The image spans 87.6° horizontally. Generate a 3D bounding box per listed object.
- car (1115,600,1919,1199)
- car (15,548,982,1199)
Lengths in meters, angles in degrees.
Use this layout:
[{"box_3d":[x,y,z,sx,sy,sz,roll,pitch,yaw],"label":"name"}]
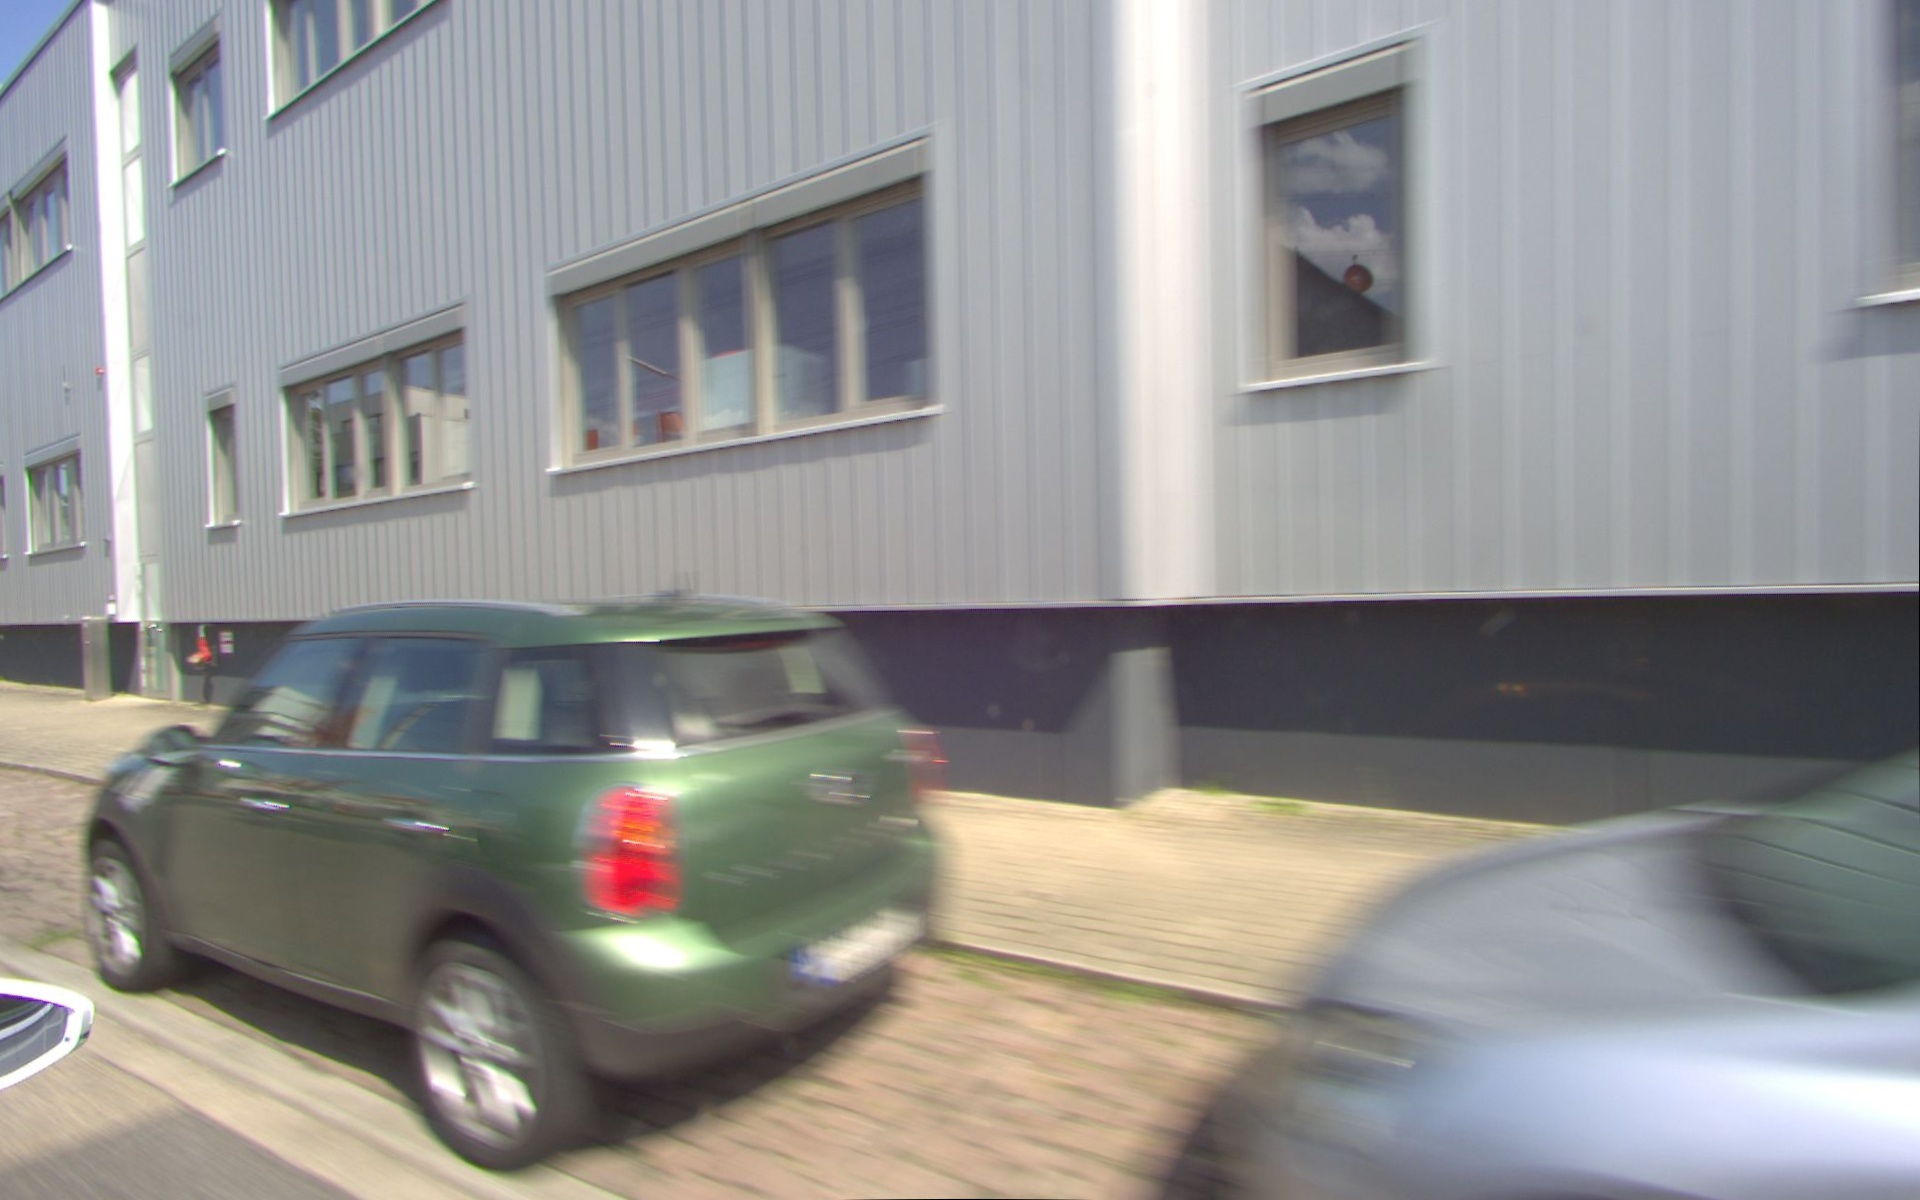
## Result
[{"box_3d":[2.511,0.728,1.473,4.196,1.451,1.707,-2,-2,32],"label":"car"},{"box_3d":[-2.079,0.724,4.145,4.056,1.530,1.707,-2,-2,32],"label":"car"}]
